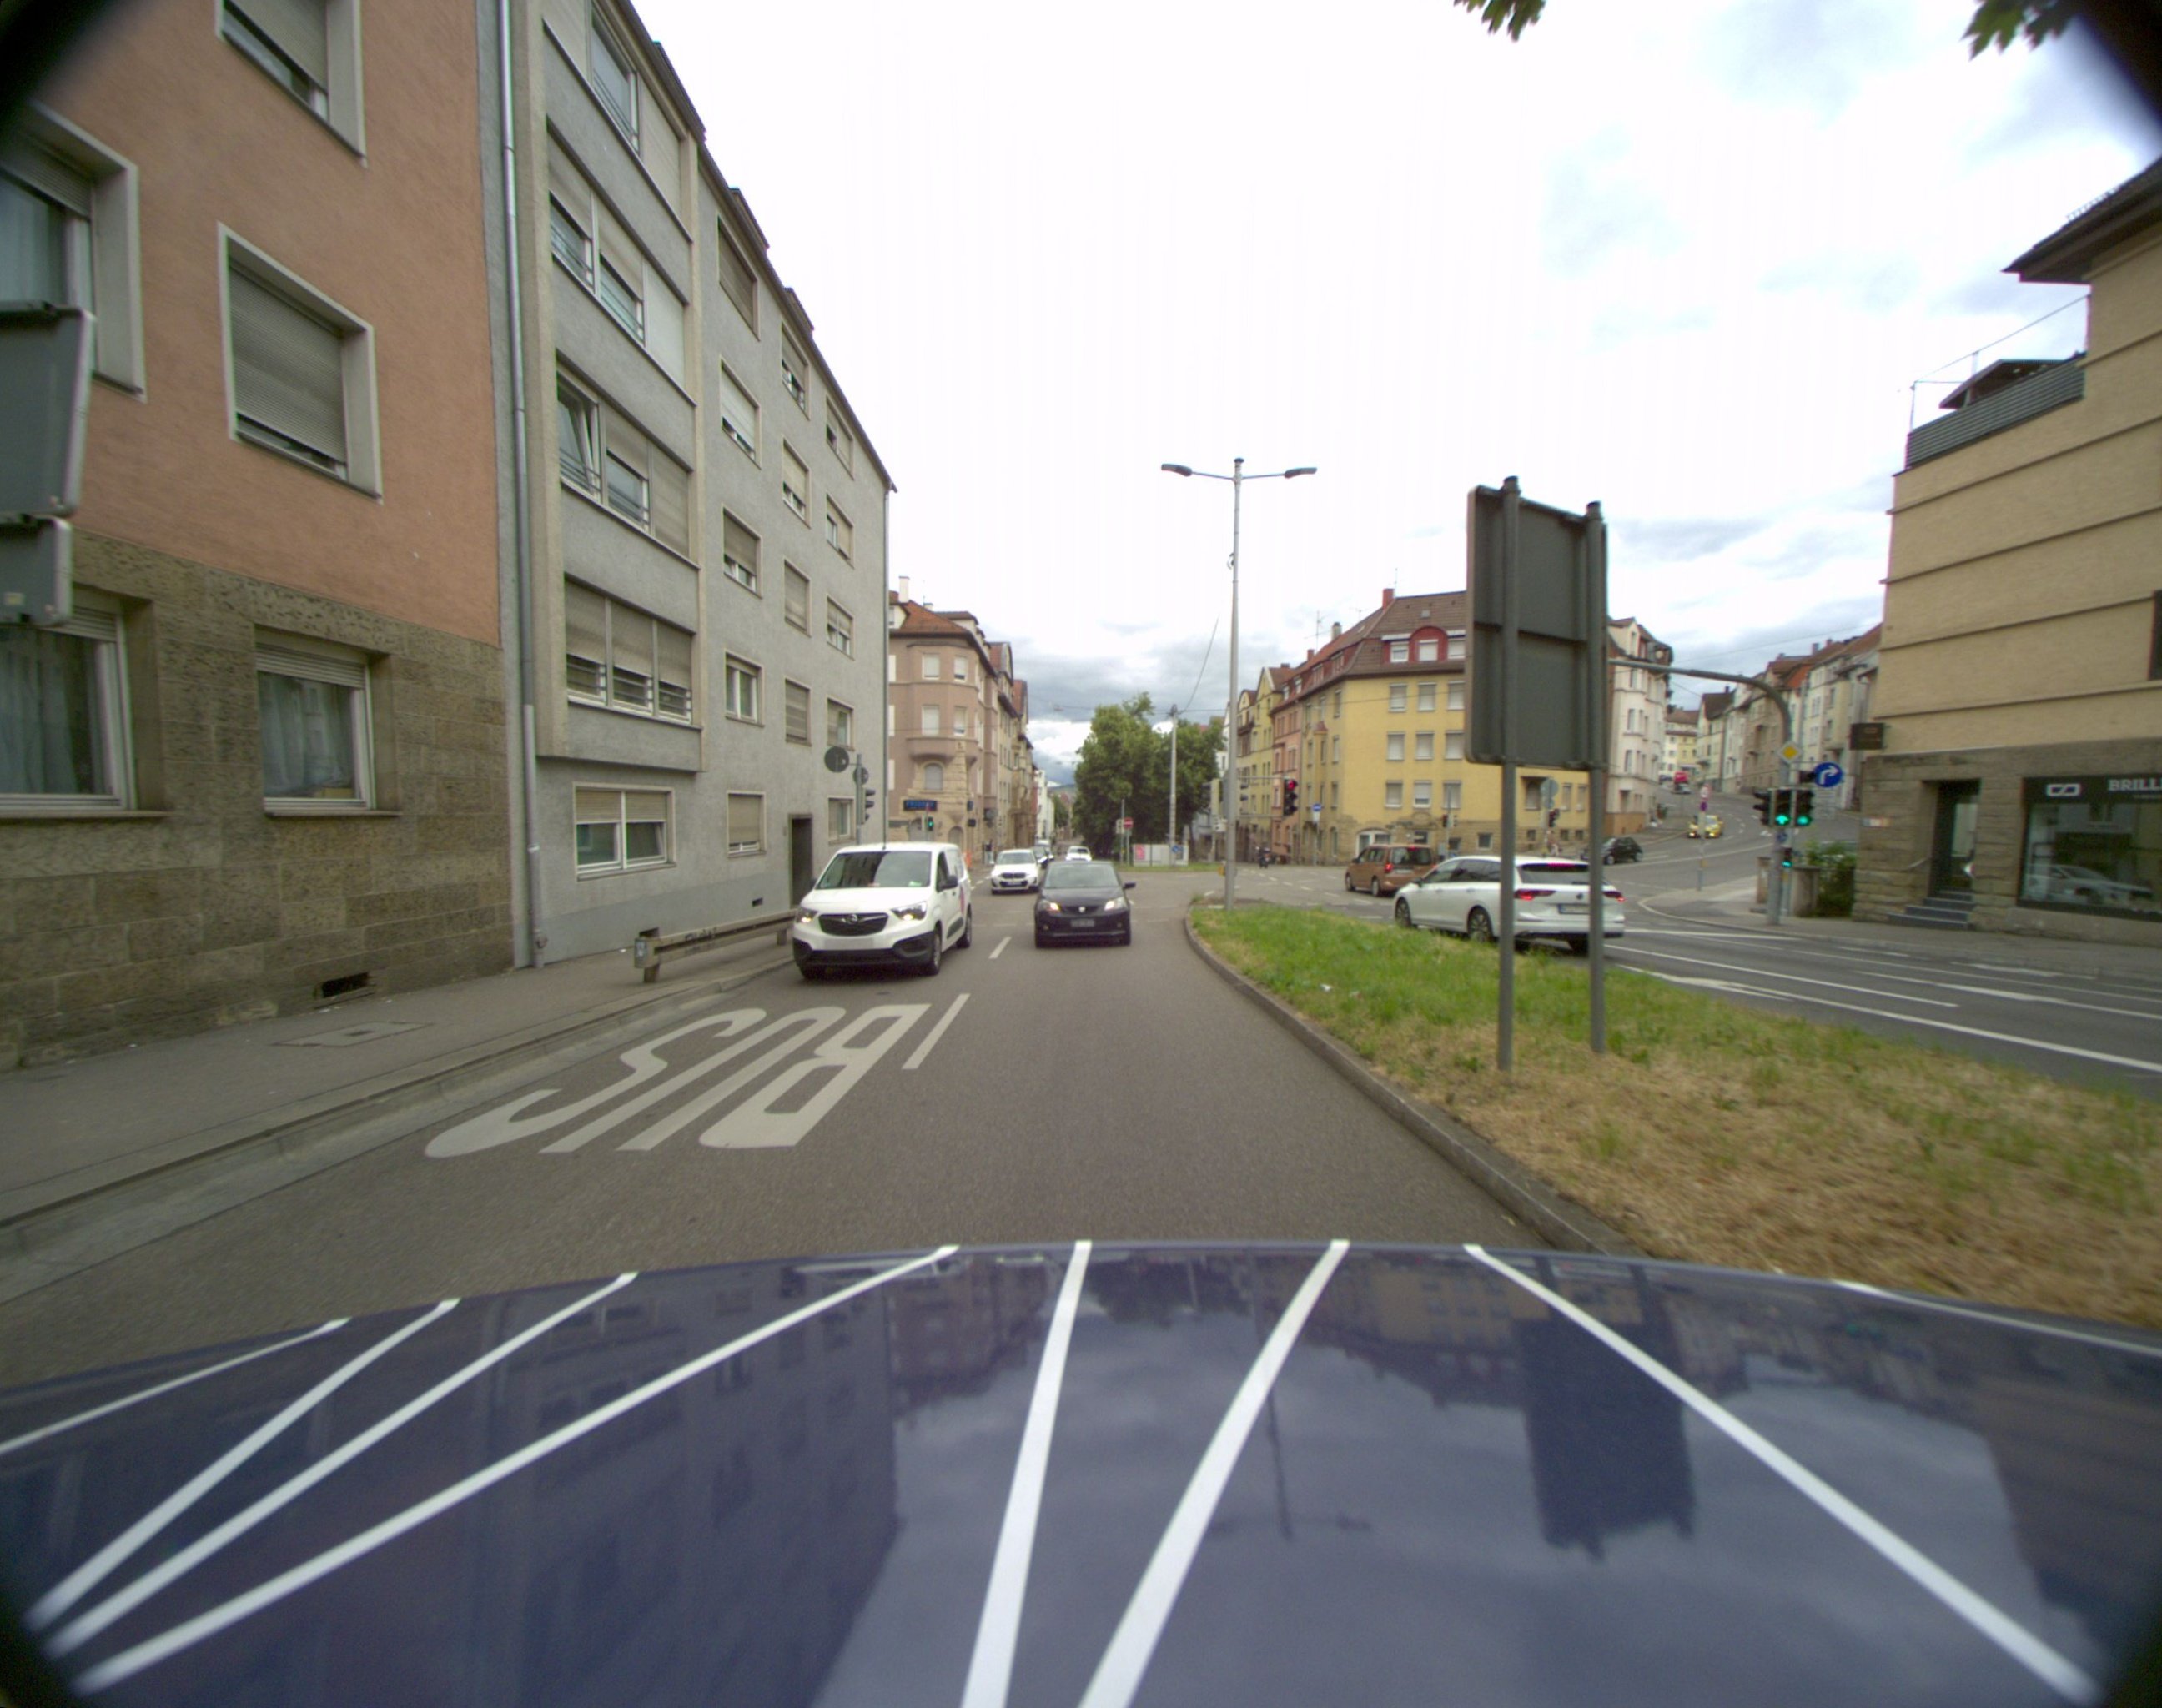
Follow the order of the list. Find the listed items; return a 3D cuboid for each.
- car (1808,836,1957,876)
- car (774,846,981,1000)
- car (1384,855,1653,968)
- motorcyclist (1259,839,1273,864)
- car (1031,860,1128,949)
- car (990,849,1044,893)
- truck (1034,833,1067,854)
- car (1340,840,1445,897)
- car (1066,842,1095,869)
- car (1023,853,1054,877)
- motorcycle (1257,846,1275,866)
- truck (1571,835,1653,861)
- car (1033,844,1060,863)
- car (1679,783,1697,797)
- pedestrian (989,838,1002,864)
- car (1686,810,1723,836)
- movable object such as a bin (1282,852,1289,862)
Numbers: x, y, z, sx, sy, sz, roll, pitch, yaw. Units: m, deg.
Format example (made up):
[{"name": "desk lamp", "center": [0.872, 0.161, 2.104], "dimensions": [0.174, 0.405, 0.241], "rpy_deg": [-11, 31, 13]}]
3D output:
[{"name": "car", "center": [34.054, 0.041, 32.396], "dimensions": [1.685, 1.458, 4.287], "rpy_deg": [-7, 5, -42]}, {"name": "car", "center": [-2.742, 0.803, 11.476], "dimensions": [1.788, 1.779, 4.843], "rpy_deg": [-1, 1, 0]}, {"name": "car", "center": [6.829, 0.787, 12.569], "dimensions": [1.750, 1.459, 4.584], "rpy_deg": [1, 1, -1]}, {"name": "motorcyclist", "center": [11.310, -0.162, 46.504], "dimensions": [0.674, 1.467, 0.662], "rpy_deg": [0, 2, 1]}, {"name": "car", "center": [-0.055, 0.869, 14.606], "dimensions": [1.604, 1.448, 3.684], "rpy_deg": [-1, -1, -1]}, {"name": "car", "center": [-2.478, 0.618, 30.222], "dimensions": [1.780, 1.598, 4.162], "rpy_deg": [-2, 0, -1]}, {"name": "truck", "center": [-4.289, -1.521, 108.628], "dimensions": [2.549, 2.891, 7.786], "rpy_deg": [2, 1, 15]}, {"name": "car", "center": [10.591, 0.489, 26.230], "dimensions": [1.884, 1.805, 4.352], "rpy_deg": [0, -1, 1]}, {"name": "car", "center": [-0.077, 0.052, 51.068], "dimensions": [1.784, 1.584, 3.531], "rpy_deg": [3, 2, -2]}, {"name": "car", "center": [-2.706, 0.674, 48.982], "dimensions": [1.780, 1.434, 4.162], "rpy_deg": [-2, 0, -1]}, {"name": "motorcycle", "center": [11.309, 0.108, 46.497], "dimensions": [0.546, 1.178, 2.204], "rpy_deg": [0, 2, 1]}, {"name": "truck", "center": [29.447, -0.348, 42.145], "dimensions": [4.004, 1.410, 1.849], "rpy_deg": [-1, 1, -22]}, {"name": "car", "center": [-2.808, -0.086, 62.335], "dimensions": [1.841, 1.477, 4.000], "rpy_deg": [1, 1, 2]}, {"name": "car", "center": [89.729, -9.425, 112.335], "dimensions": [1.858, 1.711, 3.863], "rpy_deg": [1, 1, 34]}, {"name": "pedestrian", "center": [-5.346, -0.194, 47.456], "dimensions": [0.735, 1.638, 1.004], "rpy_deg": [-1, 1, -2]}, {"name": "car", "center": [44.896, -2.207, 54.678], "dimensions": [1.857, 1.711, 3.864], "rpy_deg": [1, 1, 41]}, {"name": "movable object such as a bin", "center": [17.752, 0.222, 66.027], "dimensions": [0.487, 0.860, 0.449], "rpy_deg": [1, 1, 5]}]
